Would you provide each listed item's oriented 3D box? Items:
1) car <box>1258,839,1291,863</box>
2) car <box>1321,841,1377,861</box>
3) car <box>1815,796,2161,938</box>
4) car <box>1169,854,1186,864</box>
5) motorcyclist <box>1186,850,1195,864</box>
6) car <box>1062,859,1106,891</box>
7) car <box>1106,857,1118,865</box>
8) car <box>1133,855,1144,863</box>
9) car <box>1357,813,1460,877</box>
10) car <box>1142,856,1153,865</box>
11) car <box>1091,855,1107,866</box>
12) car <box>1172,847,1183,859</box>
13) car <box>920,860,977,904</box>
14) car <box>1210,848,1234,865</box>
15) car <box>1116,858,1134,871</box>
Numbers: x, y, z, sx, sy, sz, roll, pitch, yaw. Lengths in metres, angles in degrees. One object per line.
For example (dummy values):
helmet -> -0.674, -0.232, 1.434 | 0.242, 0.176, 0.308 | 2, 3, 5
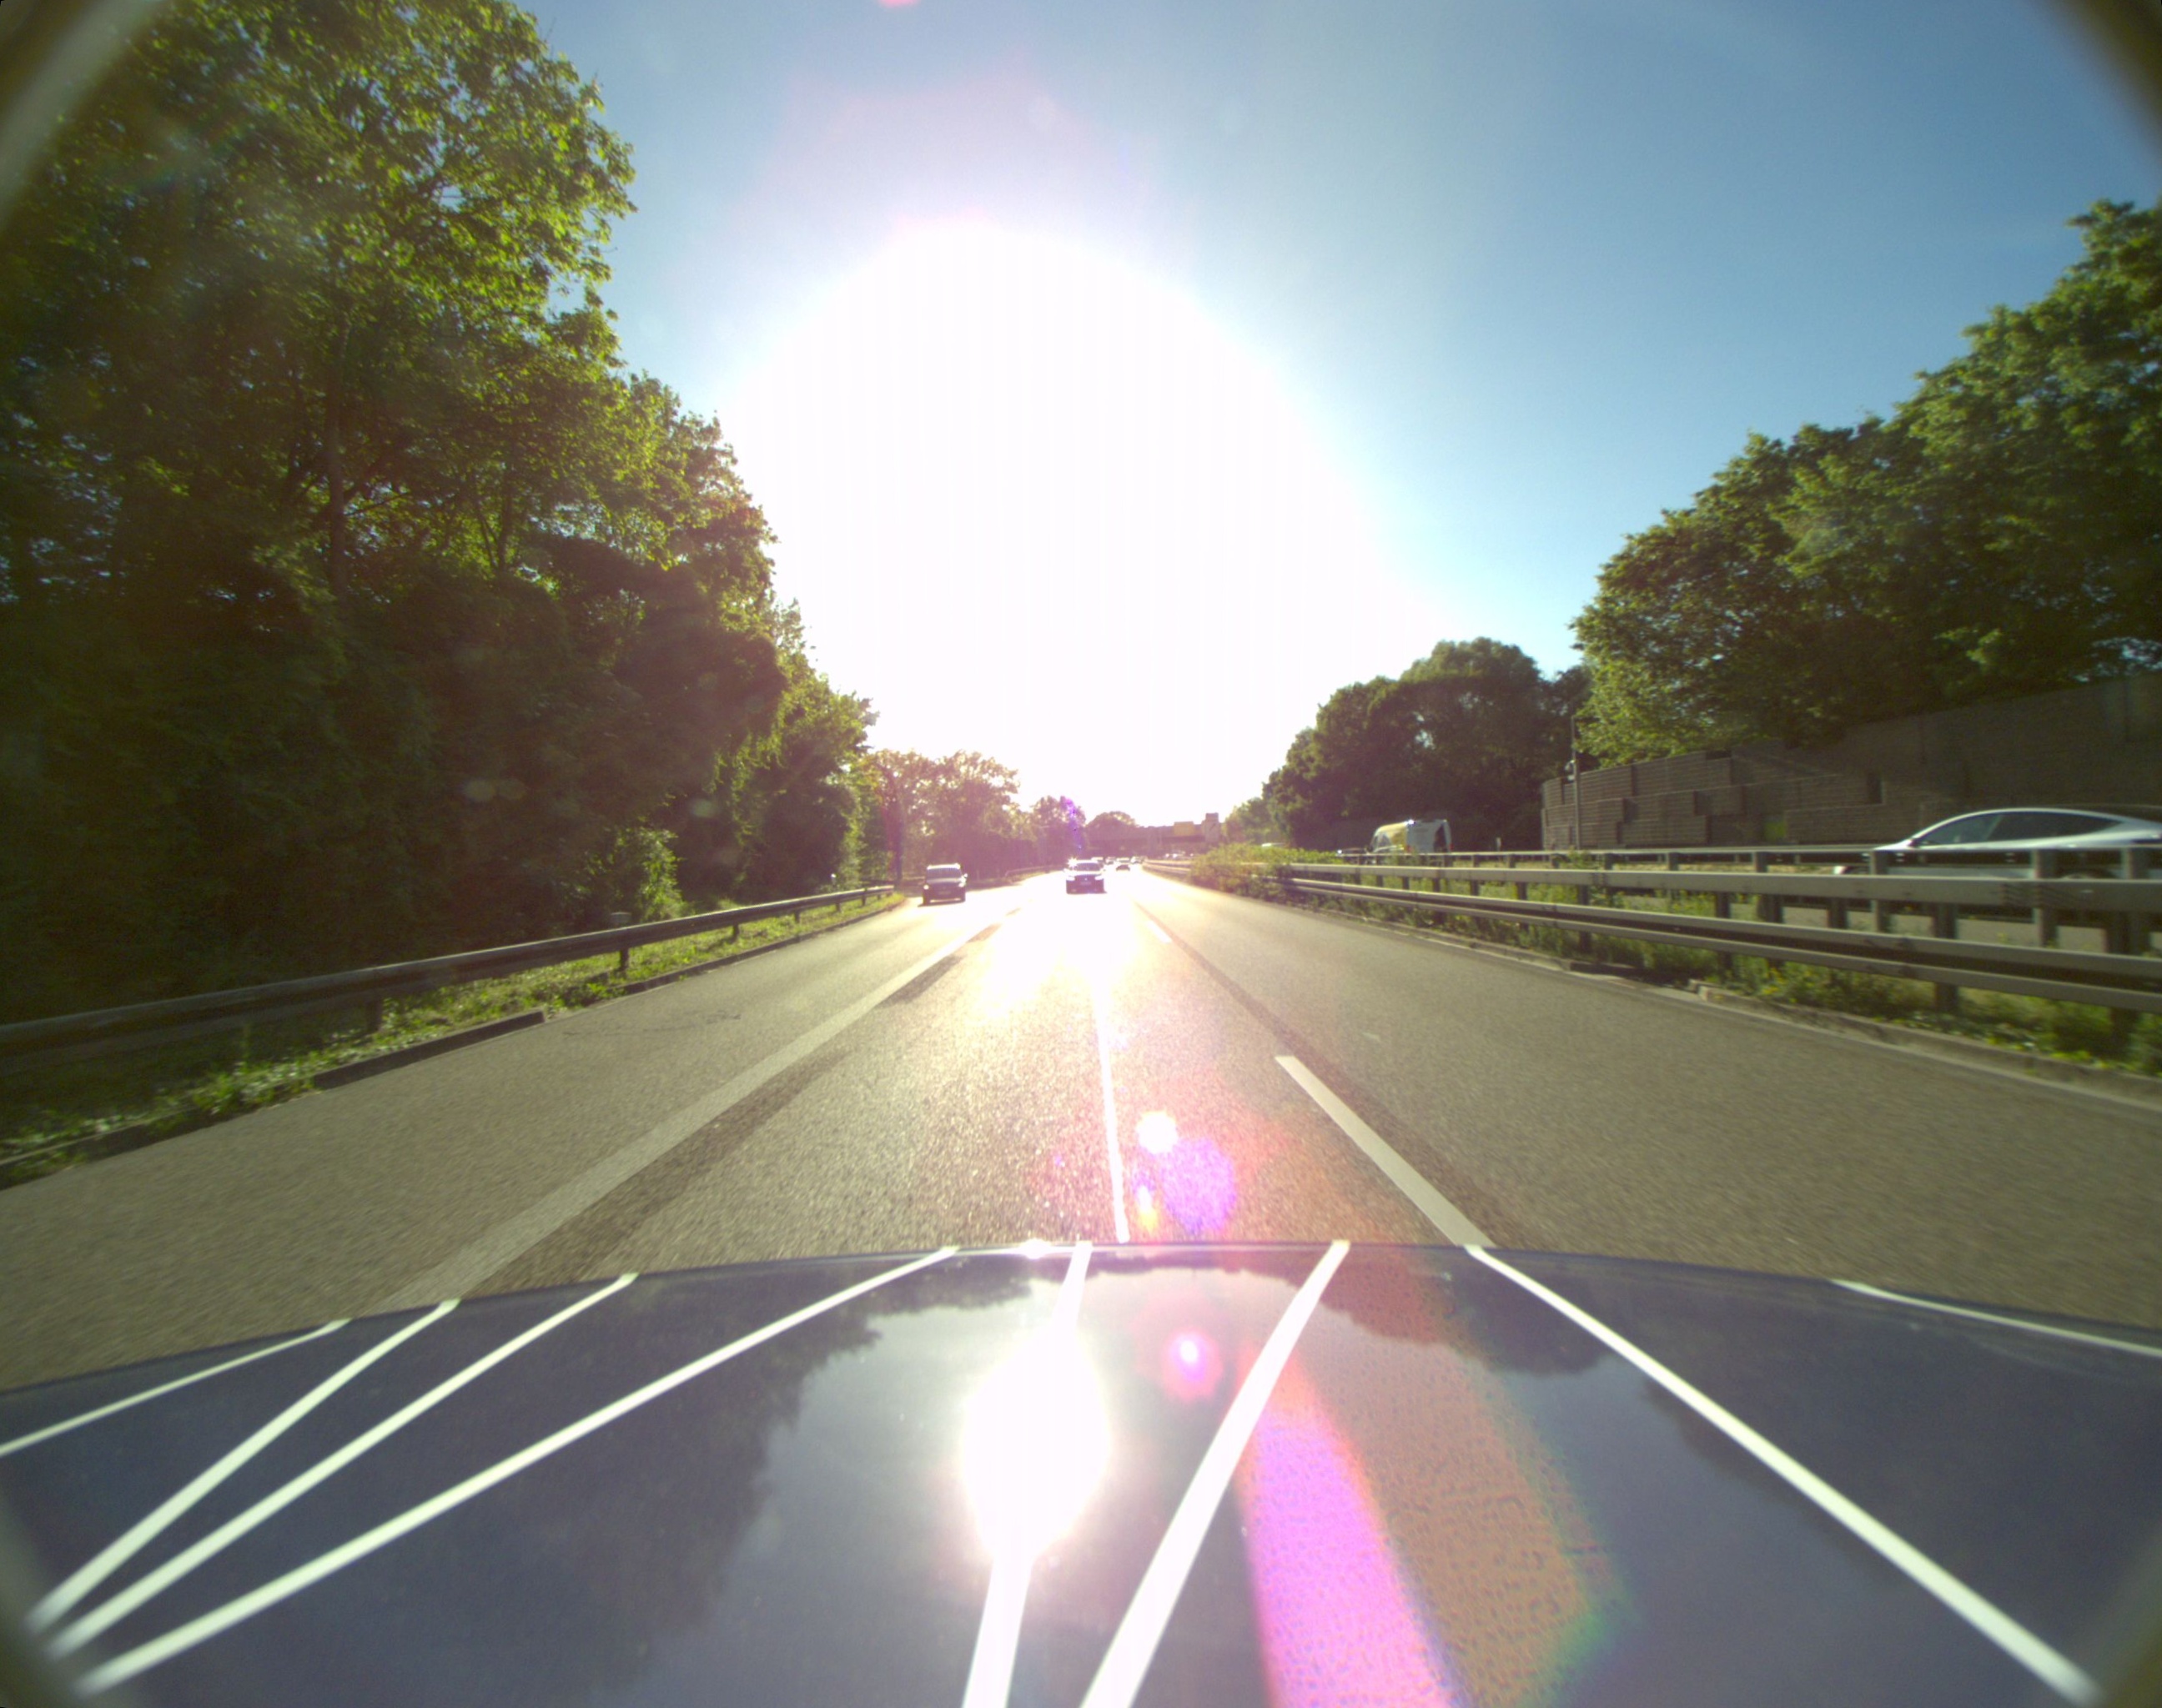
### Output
car -> 20.604, -0.303, 81.218 | 2.081, 2.267, 5.375 | -5, -1, 0
car -> 22.839, -0.211, 64.844 | 2.005, 1.326, 4.089 | -4, -1, -31
car -> 14.702, 0.132, 11.751 | 1.998, 1.772, 4.786 | -5, -1, 1
car -> 14.624, 0.772, 115.431 | 1.826, 1.471, 4.622 | -5, -1, 0
motorcyclist -> 13.152, 0.318, 91.092 | 0.824, 1.616, 1.046 | -5, 0, 1
car -> 0.229, 0.994, 38.070 | 1.998, 1.406, 4.831 | -2, 0, 2
car -> 6.056, 1.385, 147.743 | 1.998, 1.406, 4.833 | -3, -1, 5
car -> 11.630, 1.060, 153.554 | 1.997, 1.406, 4.834 | -3, -1, 7
car -> 15.281, -0.339, 35.909 | 2.152, 2.595, 6.053 | -5, -1, 1
car -> 13.246, 1.316, 151.358 | 1.998, 1.569, 4.249 | -2, -1, 2
car -> 2.532, 0.892, 105.164 | 1.998, 1.406, 4.832 | -3, -1, 4
car -> 22.304, -0.236, 176.027 | 2.126, 2.667, 6.590 | -5, -1, 4
car -> -5.679, 1.157, 32.914 | 1.746, 1.652, 4.000 | -5, -1, -2
car -> 16.286, 0.321, 87.963 | 1.826, 1.810, 4.622 | -5, -1, 1
car -> 5.009, 1.194, 87.246 | 1.998, 1.406, 4.832 | -3, -1, 2
